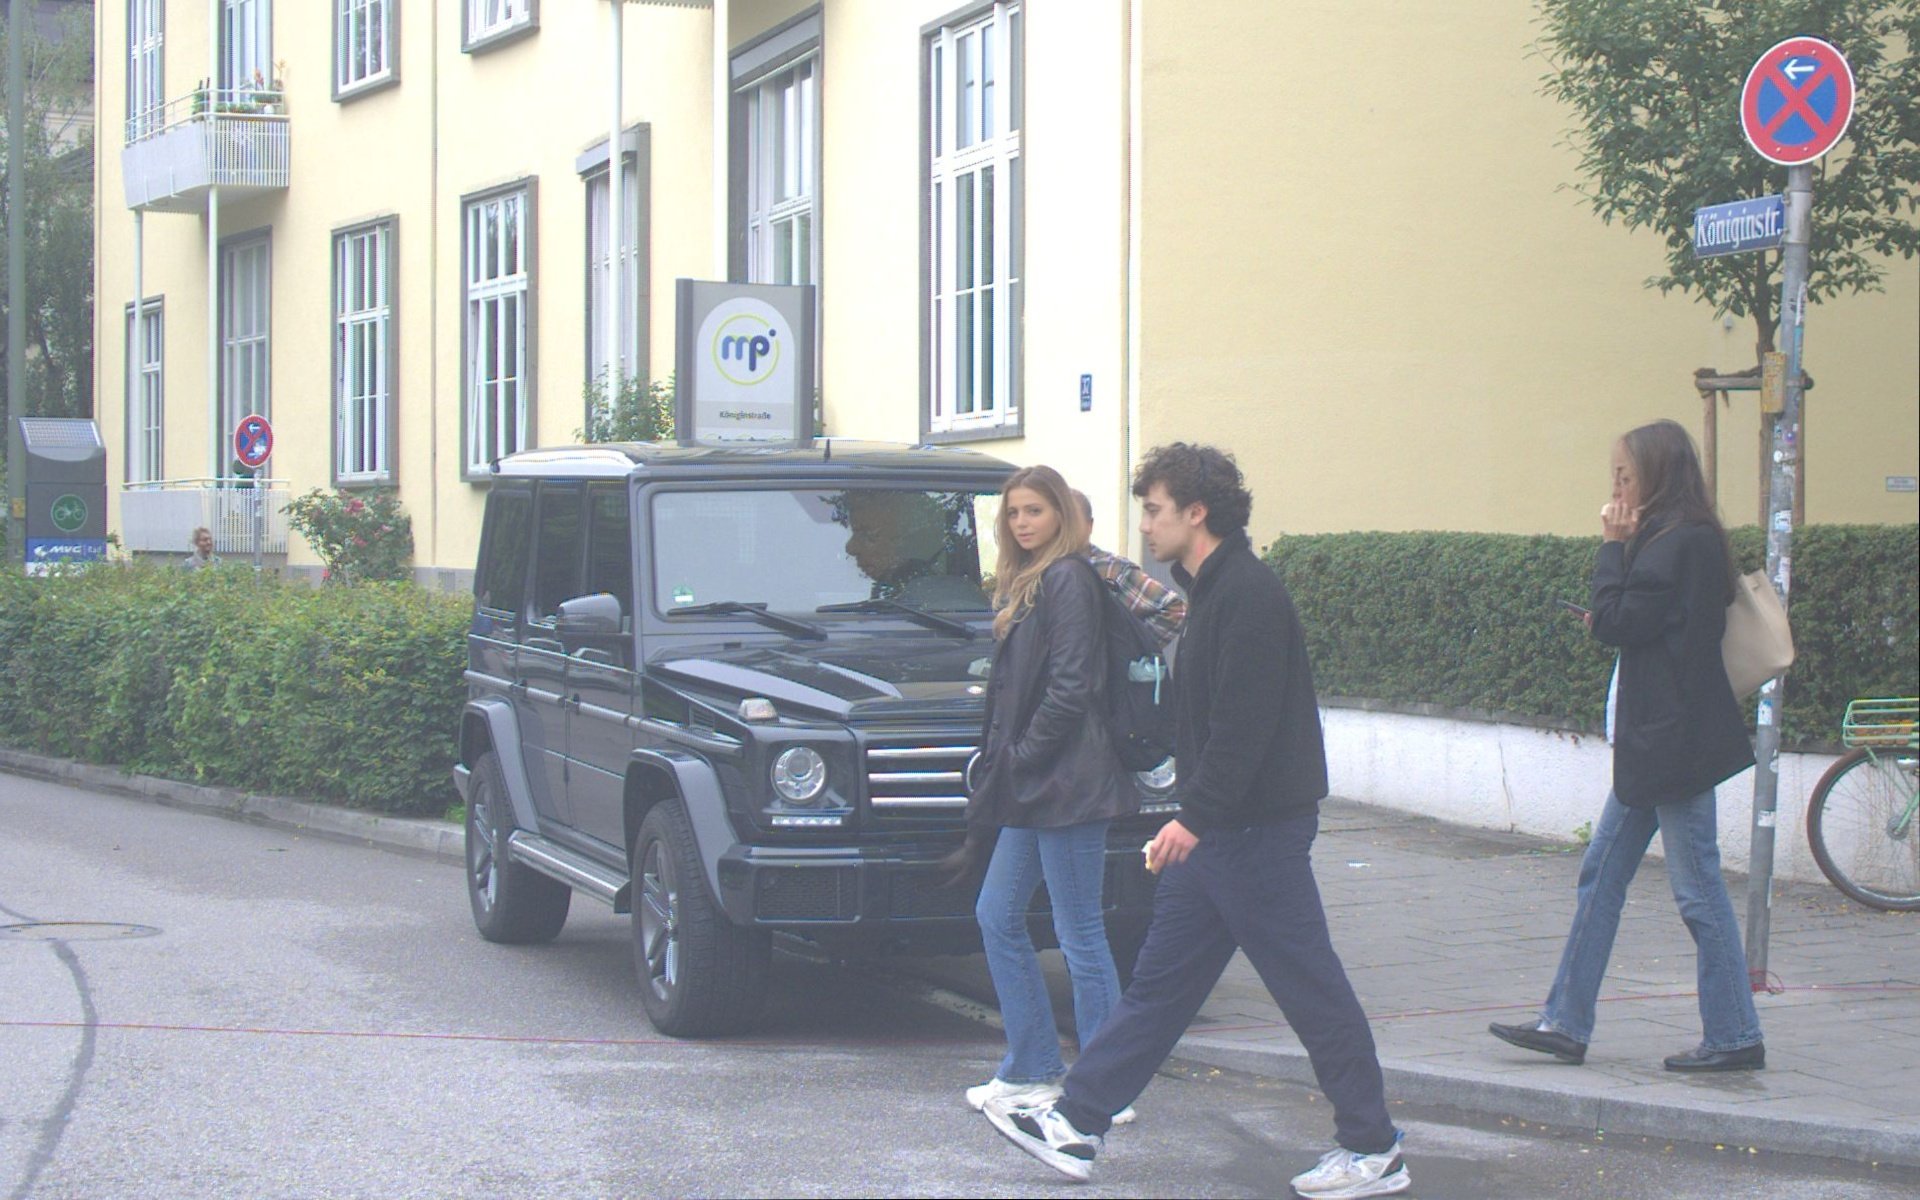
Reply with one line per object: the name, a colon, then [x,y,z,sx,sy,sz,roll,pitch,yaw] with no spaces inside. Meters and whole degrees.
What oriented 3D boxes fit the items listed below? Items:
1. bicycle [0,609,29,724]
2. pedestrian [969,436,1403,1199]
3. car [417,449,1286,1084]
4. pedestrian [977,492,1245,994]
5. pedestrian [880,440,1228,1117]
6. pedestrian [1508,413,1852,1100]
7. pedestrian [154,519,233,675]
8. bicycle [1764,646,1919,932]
bicycle: [-9.089,0.609,30.524,1.533,1.011,0.367,-2,2,-32]
pedestrian: [0.554,0.525,8.226,0.990,1.803,0.659,0,1,7]
car: [-0.632,0.442,12.670,1.873,1.881,4.620,-1,1,-20]
pedestrian: [0.534,0.490,12.536,0.848,1.751,0.954,-1,1,-4]
pedestrian: [0.269,0.451,9.280,0.827,1.740,0.740,0,1,11]
pedestrian: [2.011,0.425,9.701,0.850,1.851,0.766,-1,1,7]
pedestrian: [-8.383,-0.042,37.577,0.631,1.678,0.698,-2,1,-30]
bicycle: [4.088,0.712,13.045,1.948,1.081,0.528,-2,-1,37]
